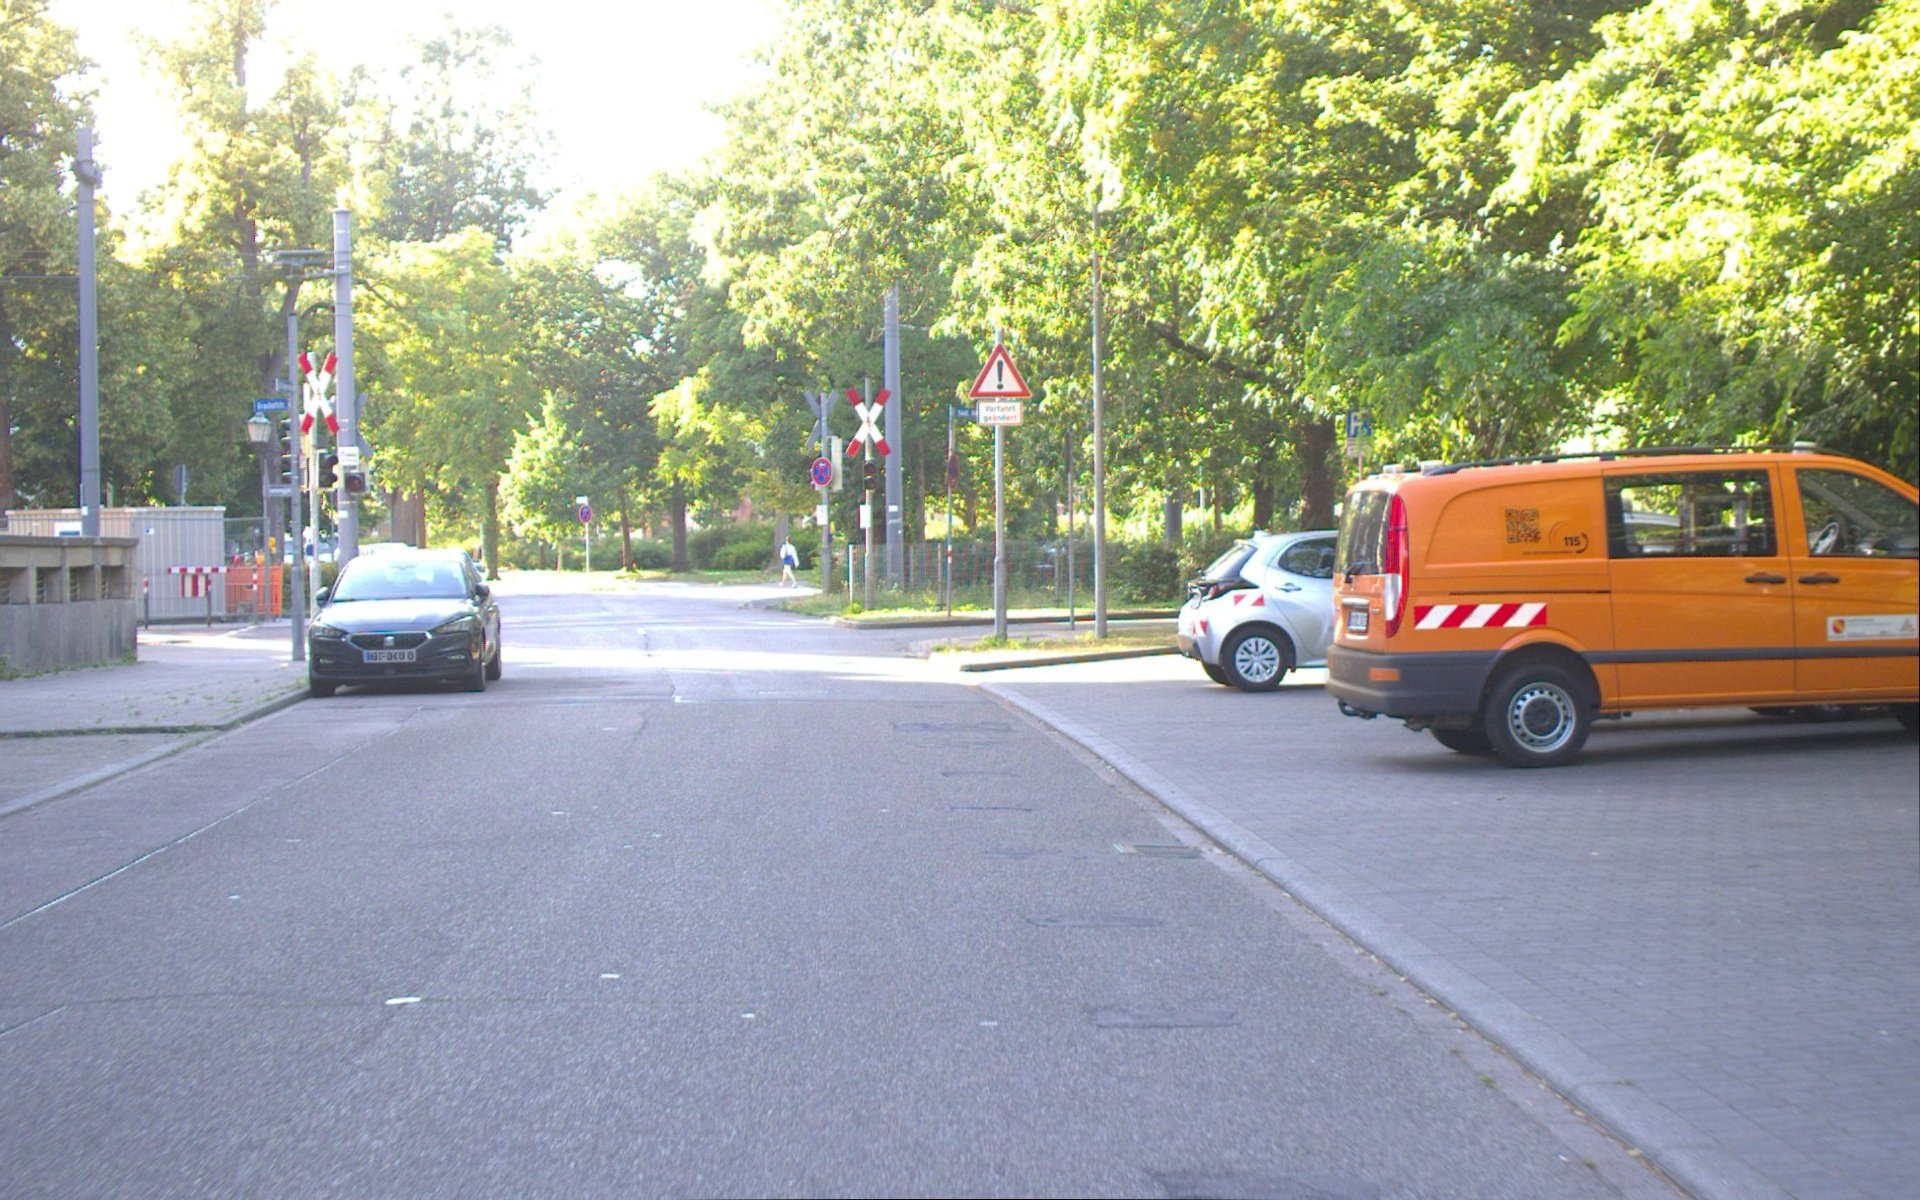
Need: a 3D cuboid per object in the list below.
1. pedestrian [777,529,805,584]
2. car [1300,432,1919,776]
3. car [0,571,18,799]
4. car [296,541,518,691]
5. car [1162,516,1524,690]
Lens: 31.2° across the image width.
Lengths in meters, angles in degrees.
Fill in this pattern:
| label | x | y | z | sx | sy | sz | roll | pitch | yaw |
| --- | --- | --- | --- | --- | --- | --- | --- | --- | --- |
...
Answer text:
| label | x | y | z | sx | sy | sz | roll | pitch | yaw |
| --- | --- | --- | --- | --- | --- | --- | --- | --- | --- |
| pedestrian | -5.370 | -1.384 | 109.128 | 0.826 | 1.715 | 0.874 | 0 | -1 | 2 |
| car | 4.833 | -0.027 | 22.600 | 4.817 | 2.007 | 1.802 | -3 | 1 | -6 |
| car | -6.655 | 0.558 | 19.321 | 1.727 | 1.392 | 4.374 | 0 | 1 | -3 |
| car | -5.837 | 0.121 | 36.732 | 1.878 | 1.461 | 4.374 | -1 | 1 | -3 |
| car | 3.659 | 0.008 | 33.086 | 3.143 | 1.498 | 1.541 | -3 | 1 | -6 |
